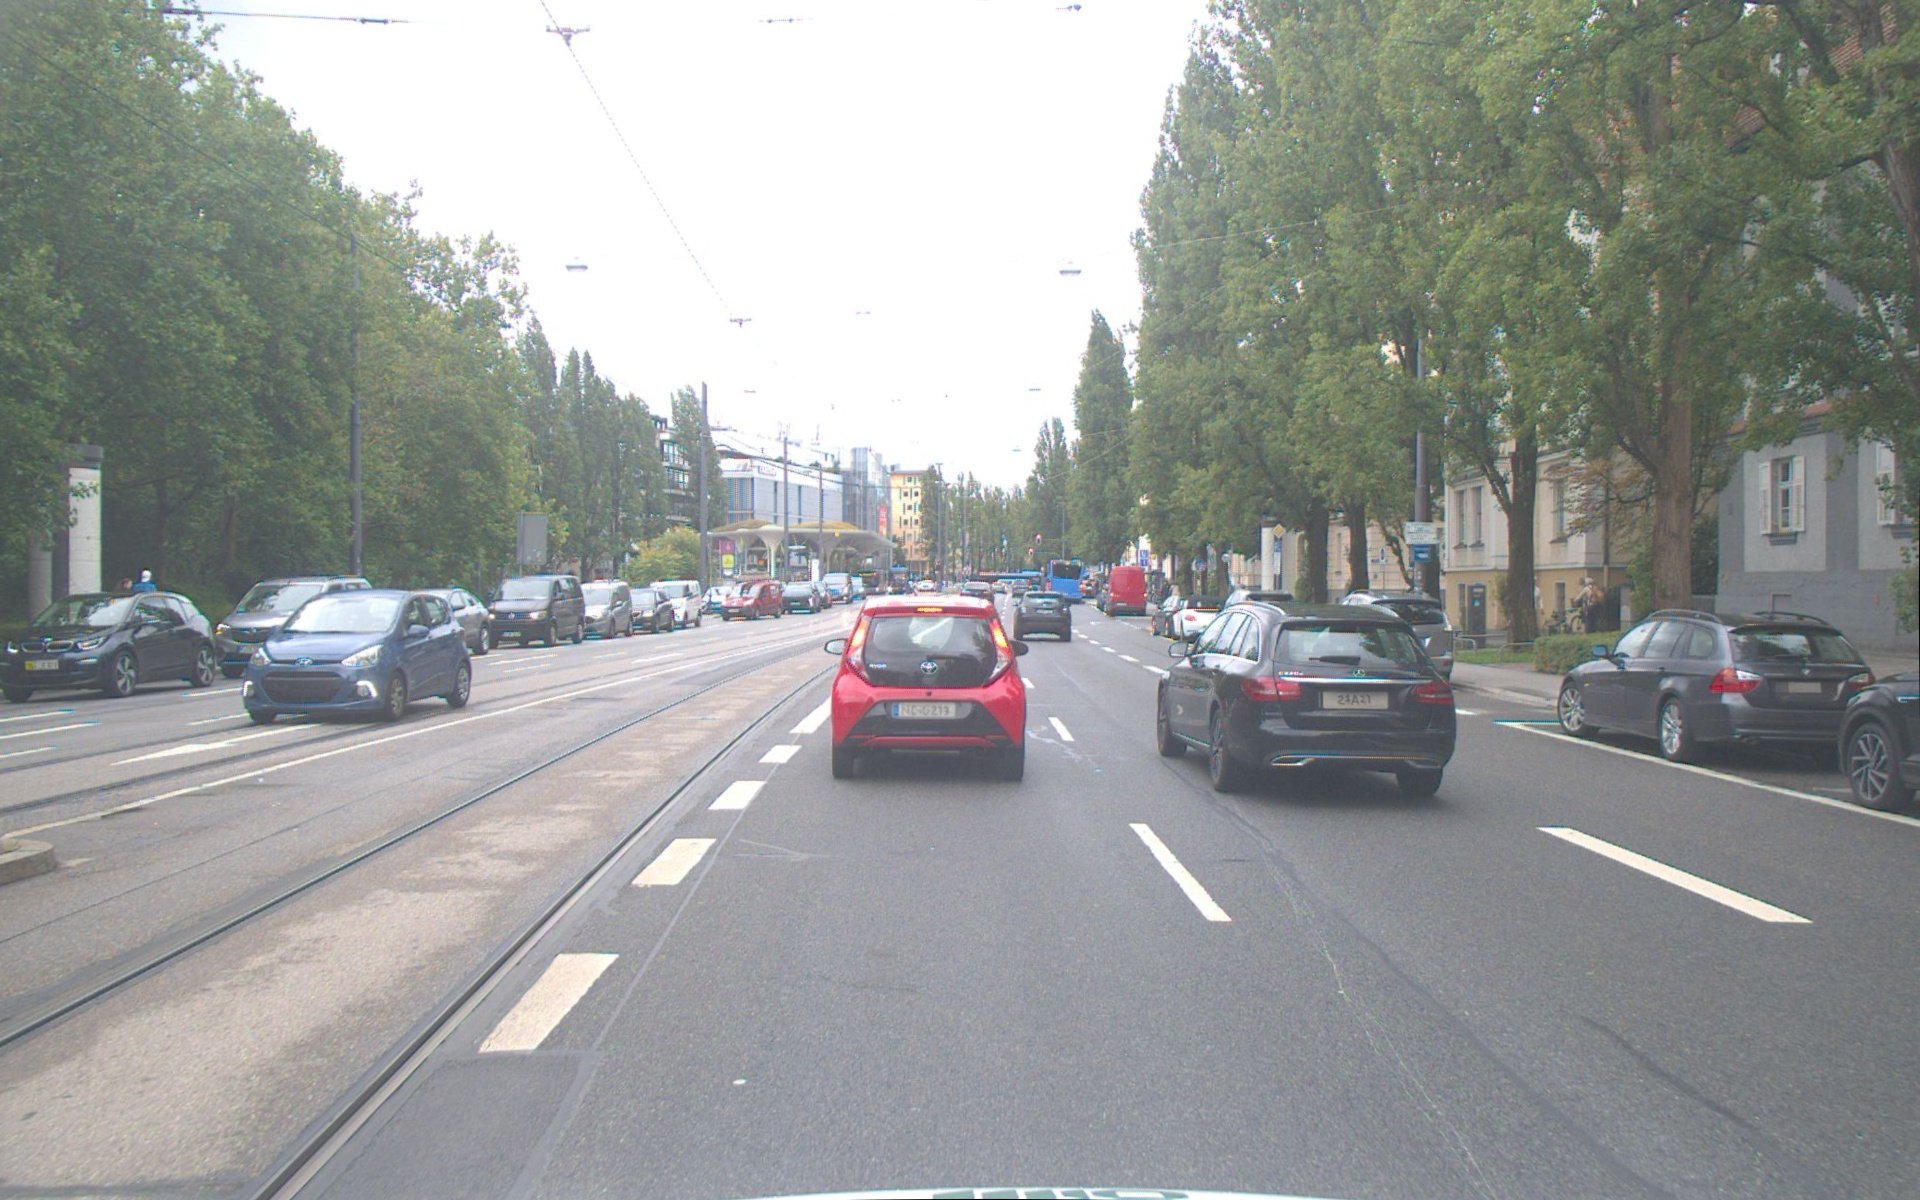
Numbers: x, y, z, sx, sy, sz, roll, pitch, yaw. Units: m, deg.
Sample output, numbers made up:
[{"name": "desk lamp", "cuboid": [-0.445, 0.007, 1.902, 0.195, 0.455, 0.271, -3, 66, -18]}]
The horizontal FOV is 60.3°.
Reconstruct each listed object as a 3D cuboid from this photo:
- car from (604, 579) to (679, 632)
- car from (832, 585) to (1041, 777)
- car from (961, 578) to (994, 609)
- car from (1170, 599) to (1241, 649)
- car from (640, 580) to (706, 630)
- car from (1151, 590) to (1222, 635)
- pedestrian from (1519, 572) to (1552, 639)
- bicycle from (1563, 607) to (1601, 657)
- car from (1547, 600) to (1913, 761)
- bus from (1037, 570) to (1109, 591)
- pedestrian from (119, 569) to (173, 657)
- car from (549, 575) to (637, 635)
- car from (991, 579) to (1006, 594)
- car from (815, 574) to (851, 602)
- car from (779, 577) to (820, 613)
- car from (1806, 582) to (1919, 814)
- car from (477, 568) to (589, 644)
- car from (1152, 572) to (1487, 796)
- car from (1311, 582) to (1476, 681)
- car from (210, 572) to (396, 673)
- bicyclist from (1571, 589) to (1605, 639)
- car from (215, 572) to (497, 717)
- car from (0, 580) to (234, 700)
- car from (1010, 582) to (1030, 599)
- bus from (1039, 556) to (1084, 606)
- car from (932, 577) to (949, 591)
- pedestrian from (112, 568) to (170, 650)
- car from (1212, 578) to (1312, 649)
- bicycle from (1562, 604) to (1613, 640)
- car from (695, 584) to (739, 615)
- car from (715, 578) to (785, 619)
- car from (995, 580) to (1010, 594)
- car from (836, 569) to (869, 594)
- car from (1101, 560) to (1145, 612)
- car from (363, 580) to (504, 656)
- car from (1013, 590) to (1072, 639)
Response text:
[{"name": "car", "cuboid": [-11.648, 0.169, 60.739, 1.762, 1.819, 4.519, -2, 0, 1]}, {"name": "car", "cuboid": [-0.227, 0.616, 14.608, 1.596, 1.465, 3.375, 1, 0, -2]}, {"name": "car", "cuboid": [0.922, -0.360, 87.877, 1.700, 1.576, 4.577, 0, 1, 1]}, {"name": "car", "cuboid": [7.931, 0.738, 53.631, 1.762, 1.534, 4.001, 0, 0, 1]}, {"name": "car", "cuboid": [-11.633, 0.171, 67.321, 1.762, 1.894, 4.631, -2, 0, 0]}, {"name": "car", "cuboid": [7.969, 0.413, 58.643, 1.763, 1.534, 4.448, 0, 0, -2]}, {"name": "pedestrian", "cuboid": [15.441, 0.133, 44.377, 0.579, 1.768, 0.824, 1, 2, 1]}, {"name": "bicycle", "cuboid": [13.449, 0.674, 35.776, 0.347, 1.005, 1.228, 1, 2, 1]}, {"name": "car", "cuboid": [7.785, 0.733, 17.236, 1.762, 1.423, 4.381, 0, 0, 0]}, {"name": "bus", "cuboid": [16.443, -2.810, 240.939, 10.344, 2.895, 1.999, 1, 2, -3]}, {"name": "pedestrian", "cuboid": [-17.221, 0.275, 35.001, 0.650, 1.821, 0.819, 1, 0, 9]}, {"name": "car", "cuboid": [-11.943, 0.155, 54.090, 1.762, 1.819, 4.519, -2, 0, 1]}, {"name": "car", "cuboid": [4.911, -1.736, 210.552, 1.766, 1.624, 4.001, 1, -2, 5]}, {"name": "car", "cuboid": [-8.075, -0.754, 105.728, 1.762, 1.694, 4.520, -2, 0, 2]}, {"name": "car", "cuboid": [-8.451, -0.259, 87.362, 1.763, 1.819, 4.518, -2, 0, -1]}, {"name": "car", "cuboid": [7.669, 0.697, 11.113, 1.762, 1.640, 4.305, 0, 0, 0]}, {"name": "car", "cuboid": [-12.024, 0.156, 46.907, 1.762, 2.025, 5.040, 0, 0, 1]}, {"name": "car", "cuboid": [2.849, 0.561, 14.192, 1.825, 1.576, 4.703, 0, 1, -1]}, {"name": "car", "cuboid": [7.716, 0.511, 29.877, 1.762, 1.640, 4.547, 0, 0, 0]}, {"name": "car", "cuboid": [-12.637, 0.386, 32.125, 1.762, 1.810, 4.473, 0, 0, 1]}, {"name": "bicyclist", "cuboid": [17.127, 0.375, 45.097, 0.646, 1.337, 0.706, 0, 0, -1]}, {"name": "car", "cuboid": [-7.166, 0.485, 20.144, 1.762, 1.549, 4.355, -1, 0, 1]}, {"name": "car", "cuboid": [-13.203, 0.560, 25.813, 1.762, 1.696, 4.355, 0, 0, 1]}, {"name": "car", "cuboid": [5.317, -0.844, 146.938, 1.744, 1.512, 4.001, 0, 0, 1]}, {"name": "bus", "cuboid": [7.652, -1.527, 125.949, 2.846, 3.454, 10.809, 1, 2, 1]}, {"name": "car", "cuboid": [-2.149, -1.725, 183.304, 1.744, 1.512, 4.001, 0, 0, 1]}, {"name": "pedestrian", "cuboid": [-17.541, 0.174, 35.450, 0.650, 1.713, 0.989, 1, 2, 9]}, {"name": "car", "cuboid": [7.884, 0.319, 43.581, 1.762, 1.773, 4.700, 0, 0, 0]}, {"name": "bicycle", "cuboid": [17.124, 0.588, 45.155, 0.639, 0.939, 1.903, 0, 0, -1]}, {"name": "car", "cuboid": [-13.062, -0.056, 89.165, 1.763, 1.557, 4.517, -2, 0, -2]}, {"name": "car", "cuboid": [-9.896, -0.083, 78.278, 1.761, 1.819, 4.523, -2, 0, 14]}, {"name": "car", "cuboid": [5.589, -1.748, 217.583, 1.766, 1.624, 4.001, 1, -2, 5]}, {"name": "car", "cuboid": [-7.741, -1.326, 119.762, 1.761, 1.694, 4.521, -2, 0, 4]}, {"name": "car", "cuboid": [8.718, -0.778, 88.593, 1.952, 2.618, 4.681, 1, 2, 1]}, {"name": "car", "cuboid": [-12.266, 0.382, 38.860, 1.762, 1.663, 4.589, 0, 0, 1]}, {"name": "car", "cuboid": [2.586, 0.432, 52.698, 1.744, 1.512, 4.001, 0, 0, 1]}]
